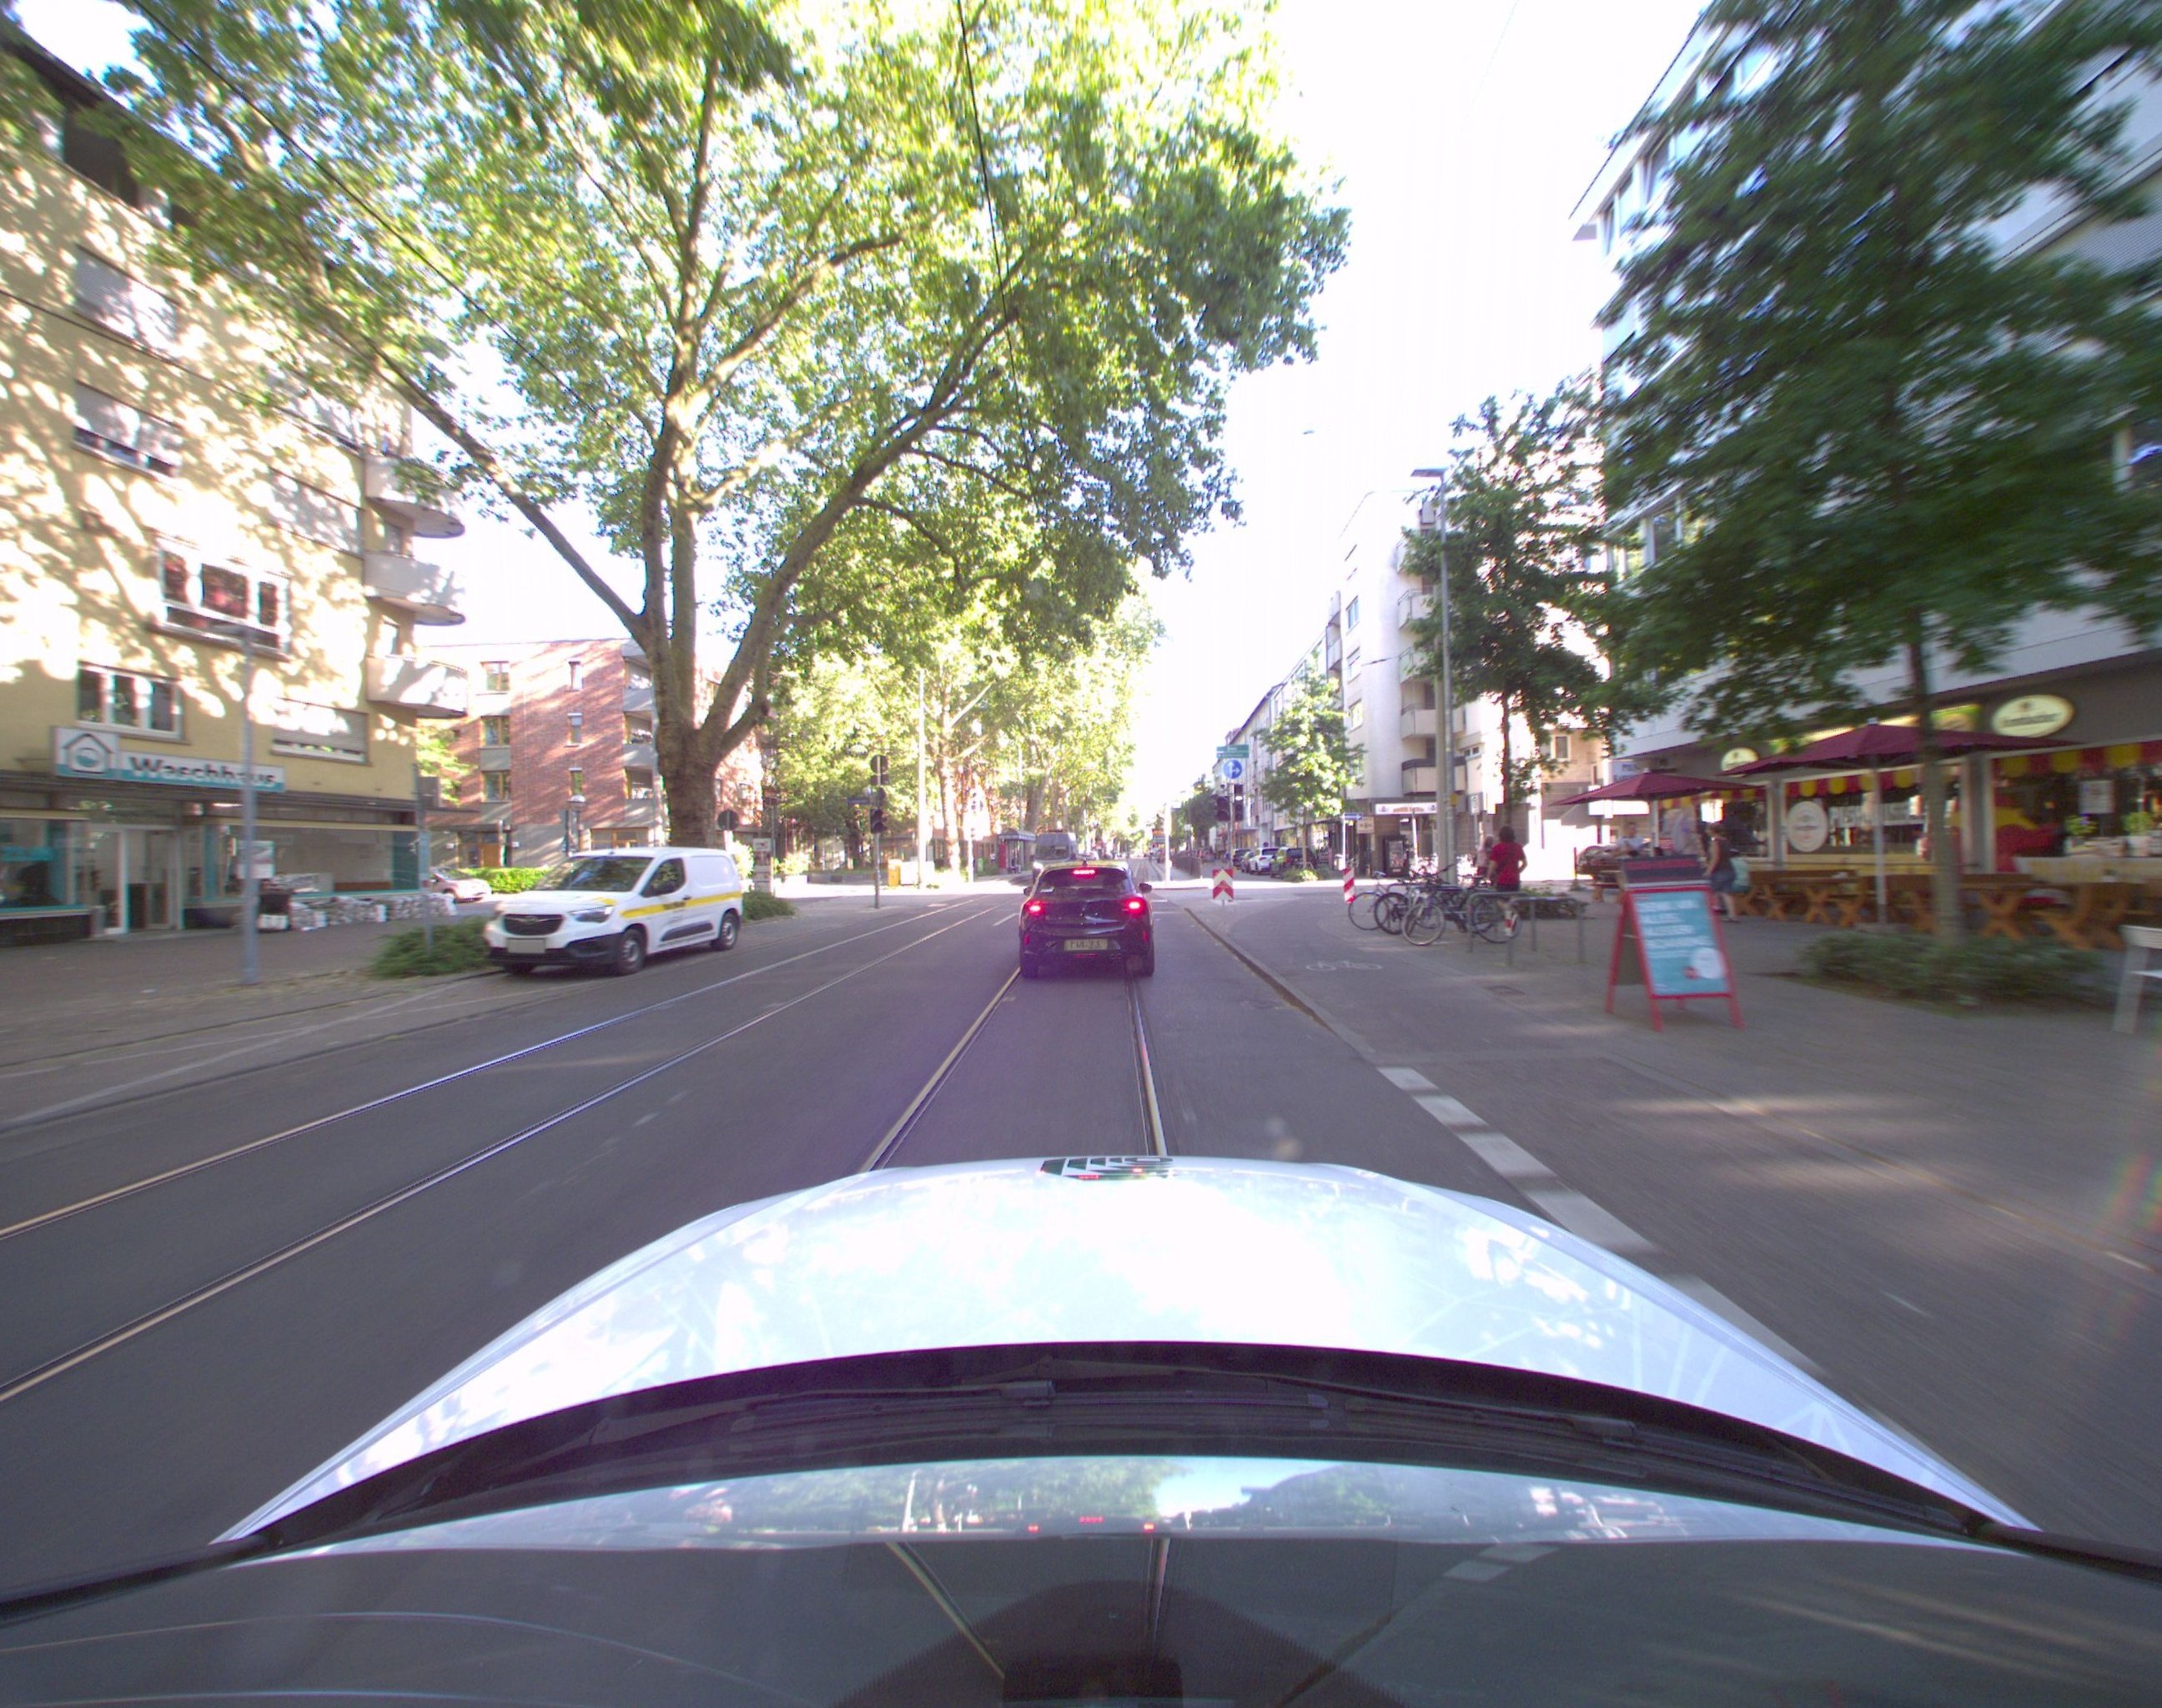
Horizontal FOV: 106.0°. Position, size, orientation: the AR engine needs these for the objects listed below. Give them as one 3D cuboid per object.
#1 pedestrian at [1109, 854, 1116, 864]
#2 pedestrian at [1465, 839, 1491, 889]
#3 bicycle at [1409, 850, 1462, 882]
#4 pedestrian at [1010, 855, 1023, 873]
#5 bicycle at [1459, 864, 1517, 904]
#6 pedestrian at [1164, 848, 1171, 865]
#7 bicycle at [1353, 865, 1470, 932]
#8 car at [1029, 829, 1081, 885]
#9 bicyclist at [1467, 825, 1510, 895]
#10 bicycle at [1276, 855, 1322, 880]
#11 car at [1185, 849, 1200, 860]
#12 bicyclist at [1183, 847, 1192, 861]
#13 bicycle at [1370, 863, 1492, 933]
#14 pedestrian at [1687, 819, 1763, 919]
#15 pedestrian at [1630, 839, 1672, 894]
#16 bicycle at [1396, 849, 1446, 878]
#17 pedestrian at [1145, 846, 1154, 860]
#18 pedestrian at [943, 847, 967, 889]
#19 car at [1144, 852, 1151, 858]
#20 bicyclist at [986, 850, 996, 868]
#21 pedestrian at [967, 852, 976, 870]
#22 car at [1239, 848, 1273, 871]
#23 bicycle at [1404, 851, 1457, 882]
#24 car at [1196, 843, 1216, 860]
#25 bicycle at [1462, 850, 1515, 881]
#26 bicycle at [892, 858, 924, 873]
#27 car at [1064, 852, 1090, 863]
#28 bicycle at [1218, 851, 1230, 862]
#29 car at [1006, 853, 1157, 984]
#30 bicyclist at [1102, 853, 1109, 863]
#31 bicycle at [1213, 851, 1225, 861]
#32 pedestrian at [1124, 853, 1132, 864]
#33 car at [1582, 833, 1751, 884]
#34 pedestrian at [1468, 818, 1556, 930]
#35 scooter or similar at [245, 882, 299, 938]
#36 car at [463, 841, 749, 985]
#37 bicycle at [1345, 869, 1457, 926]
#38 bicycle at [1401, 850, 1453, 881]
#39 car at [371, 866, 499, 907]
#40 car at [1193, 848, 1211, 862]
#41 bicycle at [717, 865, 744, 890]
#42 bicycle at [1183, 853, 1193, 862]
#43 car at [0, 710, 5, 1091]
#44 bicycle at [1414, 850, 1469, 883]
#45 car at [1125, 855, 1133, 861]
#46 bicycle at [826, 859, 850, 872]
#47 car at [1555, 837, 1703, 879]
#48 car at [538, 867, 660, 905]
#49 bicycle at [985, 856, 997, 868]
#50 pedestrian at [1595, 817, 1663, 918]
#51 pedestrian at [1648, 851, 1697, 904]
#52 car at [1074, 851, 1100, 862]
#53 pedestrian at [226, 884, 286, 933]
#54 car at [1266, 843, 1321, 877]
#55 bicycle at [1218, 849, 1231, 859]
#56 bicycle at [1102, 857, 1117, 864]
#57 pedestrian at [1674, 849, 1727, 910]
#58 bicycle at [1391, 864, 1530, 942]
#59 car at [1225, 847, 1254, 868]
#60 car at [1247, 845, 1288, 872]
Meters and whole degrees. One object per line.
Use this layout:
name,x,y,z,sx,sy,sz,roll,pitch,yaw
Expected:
pedestrian,5.168,0.801,133.171,1.160,1.748,0.957,0,-1,-1
pedestrian,12.433,0.310,25.541,0.548,1.562,0.646,0,-2,8
bicycle,14.271,0.478,32.774,1.908,1.207,0.511,-2,1,0
pedestrian,-4.310,0.650,54.394,0.703,1.168,0.660,-2,-1,1
bicycle,10.333,0.736,20.757,0.673,0.963,2.026,0,-1,6
pedestrian,8.461,0.235,79.821,0.628,1.576,0.872,1,0,4
bicycle,5.572,0.741,13.758,1.812,1.100,0.497,0,-1,-5
car,-1.306,0.180,44.037,2.104,2.738,6.121,-2,-1,4
bicyclist,10.333,0.152,20.691,0.673,1.717,0.967,0,-1,6
bicycle,10.506,0.635,39.282,2.112,1.187,0.683,0,-1,12
car,16.216,0.104,118.776,1.984,1.486,4.005,0,0,4
bicyclist,13.278,0.013,101.667,0.859,1.759,1.052,0,-1,-2
bicycle,5.659,0.702,13.195,1.812,1.100,0.480,0,-1,-5
pedestrian,11.115,0.253,14.064,0.680,1.659,0.807,0,-1,-26
pedestrian,13.688,0.298,19.565,0.533,1.287,0.716,0,-1,5
bicycle,14.380,0.403,34.433,1.908,1.208,0.511,0,-1,0
pedestrian,8.290,-0.087,98.783,0.742,1.709,0.768,-1,-1,39
pedestrian,-5.680,0.636,36.709,0.921,1.835,0.920,0,2,0
car,17.898,0.383,220.208,1.738,1.544,4.003,0,0,3
bicyclist,-8.713,0.514,79.039,0.771,1.750,0.998,0,-1,2
pedestrian,-10.183,0.670,75.751,0.732,1.672,0.862,0,-1,4
car,11.803,0.374,55.096,1.736,1.440,4.252,0,0,4
bicycle,14.287,0.492,33.309,1.908,1.207,0.511,-1,0,0
car,15.275,-0.296,99.786,1.985,1.952,4.004,0,-1,3
bicycle,16.409,0.458,32.811,1.908,1.207,0.511,-1,1,0
bicycle,-13.510,0.914,63.601,2.329,1.166,0.683,0,-1,4
car,-0.585,0.504,130.662,4.105,1.701,1.881,0,-1,-3
bicycle,15.082,0.241,85.934,0.620,1.136,2.433,0,-1,-7
car,0.080,0.781,11.494,1.753,1.508,3.685,-2,-1,2
bicyclist,4.094,0.640,136.800,1.160,1.748,0.957,0,-1,-1
bicycle,15.001,0.224,88.556,0.602,1.136,2.429,0,-1,-7
pedestrian,7.683,0.790,133.245,1.160,1.748,0.957,0,-1,-1
car,19.269,0.156,26.939,4.238,1.592,1.965,0,-2,-3
pedestrian,7.016,0.311,13.312,0.872,1.758,1.048,0,-1,0
scooter or similar,-17.450,1.195,17.578,0.636,1.167,0.679,-1,-1,30
car,-7.012,0.784,12.659,1.756,1.851,4.320,0,-1,2
bicycle,5.682,0.770,14.518,1.808,0.994,0.481,0,-1,1
bicycle,14.372,0.464,33.862,1.908,1.207,0.511,-2,0,0
car,-27.784,1.365,35.090,3.970,1.662,1.962,-1,-1,3
car,15.803,0.119,106.532,1.985,1.797,4.004,0,-1,3
bicycle,-17.089,1.129,39.707,0.539,1.084,1.538,0,2,3
bicycle,13.295,0.458,101.328,0.858,1.136,2.394,0,-1,-2
car,-7.718,0.423,1.888,2.097,2.577,6.034,0,-1,6
bicycle,14.259,0.495,32.241,1.908,1.207,0.511,-2,1,0
car,11.961,0.948,203.218,1.738,1.544,4.003,0,0,3
bicycle,-20.585,0.981,69.015,1.941,1.073,0.762,0,-1,-12
car,21.636,0.124,32.294,4.563,1.477,1.874,-1,2,4
car,-20.284,1.327,34.384,3.970,1.508,2.001,0,-1,3
bicycle,-8.719,0.772,79.100,0.779,1.111,2.597,0,0,2
pedestrian,10.077,0.244,15.011,0.588,1.784,0.996,0,-1,2
pedestrian,12.258,0.489,16.882,0.639,1.079,0.522,0,-1,2
car,1.027,0.431,142.190,4.375,1.851,1.998,0,-1,-3
pedestrian,-18.327,1.206,18.099,0.576,1.047,0.711,0,-1,3
car,10.956,0.310,42.261,1.984,1.615,4.450,-2,-1,4
bicycle,16.097,0.006,91.291,0.610,1.136,2.914,0,0,-7
bicycle,4.762,1.090,136.816,2.473,1.240,0.957,0,-1,-2
pedestrian,12.196,0.491,16.041,0.656,1.175,0.522,0,-1,2
bicycle,5.641,0.721,12.168,1.808,1.100,0.526,-1,-1,3
car,12.692,0.284,65.447,1.848,1.615,4.403,0,0,4
car,11.292,0.272,49.628,1.791,1.606,4.420,0,0,4
